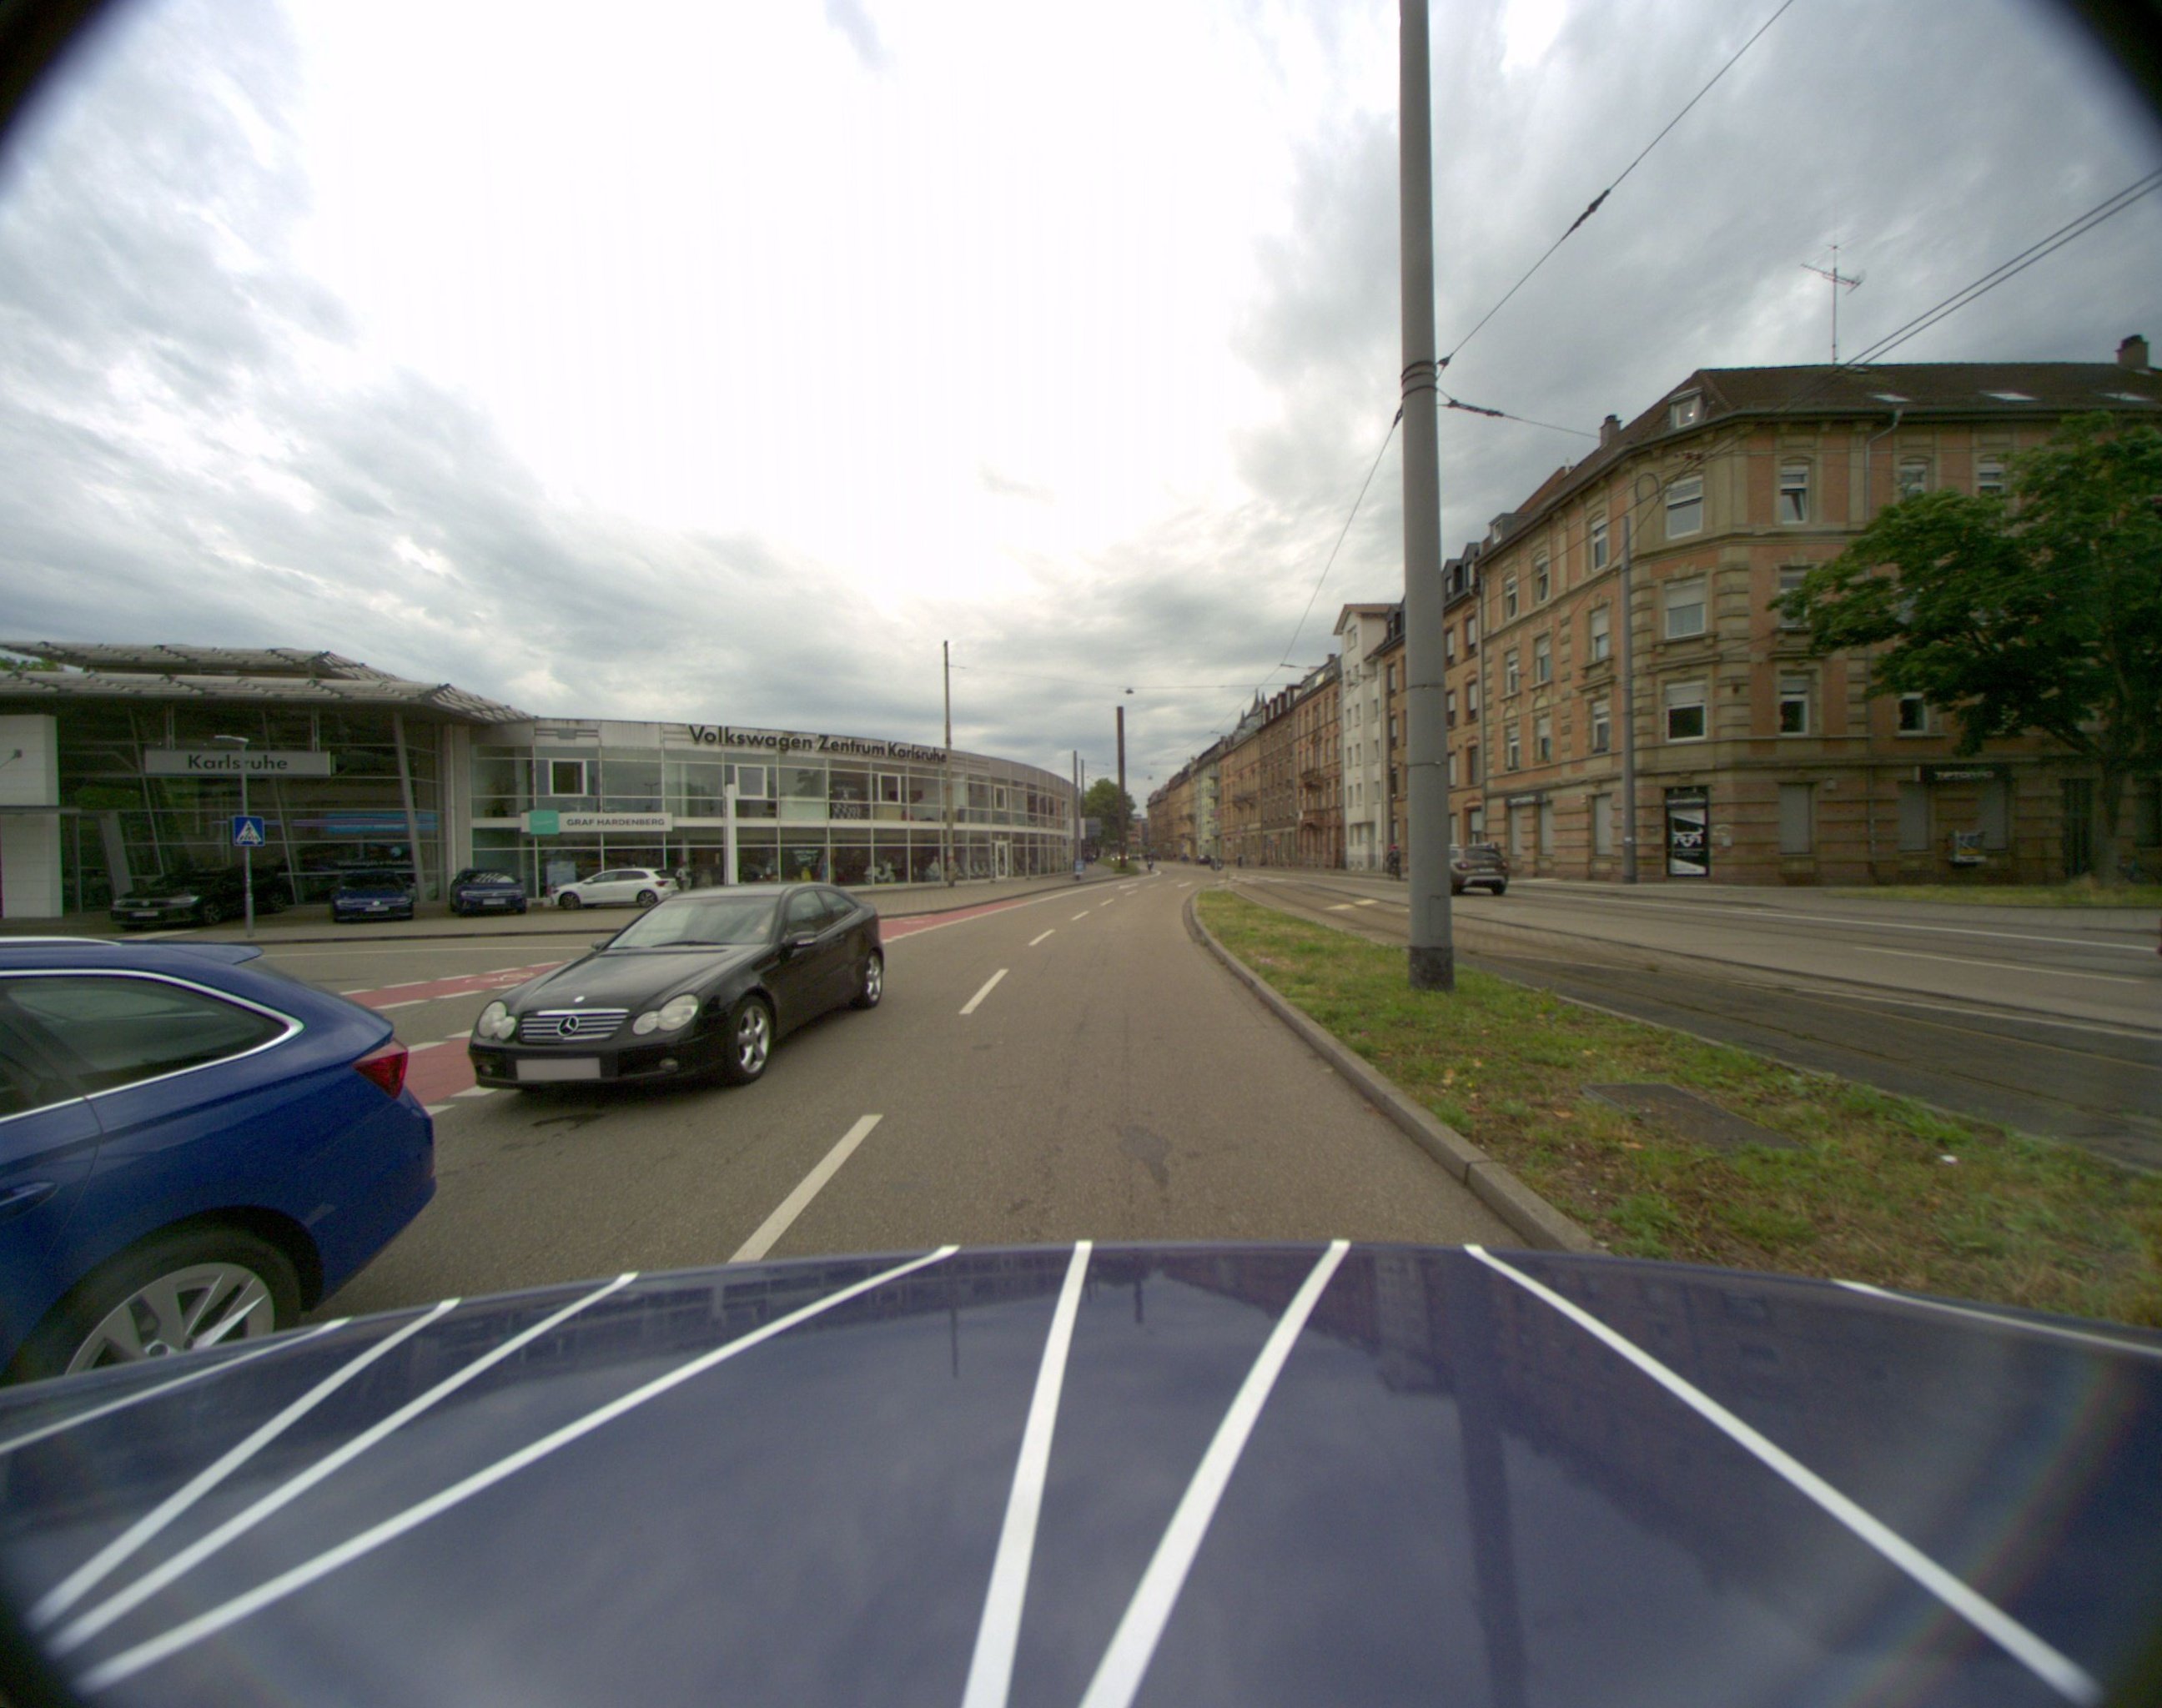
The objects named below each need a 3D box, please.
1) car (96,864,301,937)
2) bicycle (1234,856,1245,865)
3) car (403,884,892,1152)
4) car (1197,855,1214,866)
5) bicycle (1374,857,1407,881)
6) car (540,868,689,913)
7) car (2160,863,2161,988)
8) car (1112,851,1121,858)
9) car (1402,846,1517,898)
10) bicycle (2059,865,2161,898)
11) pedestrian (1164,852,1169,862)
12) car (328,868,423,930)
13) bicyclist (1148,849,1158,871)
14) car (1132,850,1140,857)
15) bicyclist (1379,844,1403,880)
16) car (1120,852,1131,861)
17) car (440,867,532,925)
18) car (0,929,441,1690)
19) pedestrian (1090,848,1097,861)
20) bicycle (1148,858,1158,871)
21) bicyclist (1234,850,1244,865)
[{"bbox_3d":[-26.477,1.294,23.086,1.862,1.624,4.500,-3,4,-18],"label":"car"},{"bbox_3d":[16.064,0.677,77.135,0.607,0.910,1.719,-1,0,-4],"label":"bicycle"},{"bbox_3d":[-3.115,1.072,6.588,1.714,1.413,4.070,-1,0,3],"label":"car"},{"bbox_3d":[16.860,0.860,102.963,1.852,1.471,3.828,-1,0,3],"label":"car"},{"bbox_3d":[16.116,0.766,39.617,0.826,1.201,2.234,0,0,-1],"label":"bicycle"},{"bbox_3d":[-16.989,1.289,27.851,4.263,1.444,1.781,-1,0,-9],"label":"car"},{"bbox_3d":[12.806,0.777,6.217,1.697,1.387,4.392,-1,0,-1],"label":"car"},{"bbox_3d":[7.869,0.143,169.068,1.802,1.630,4.230,-1,0,1],"label":"car"},{"bbox_3d":[12.863,0.555,26.146,1.802,1.630,4.229,-1,0,-1],"label":"car"},{"bbox_3d":[30.331,0.826,22.241,0.662,0.909,1.989,0,-3,-10],"label":"bicycle"},{"bbox_3d":[16.902,0.645,150.322,0.814,2.002,0.733,-1,1,1],"label":"pedestrian"},{"bbox_3d":[-22.193,1.316,23.856,4.325,1.496,1.862,3,3,43],"label":"car"},{"bbox_3d":[5.787,0.470,61.188,0.730,1.747,0.911,-1,1,7],"label":"bicyclist"},{"bbox_3d":[12.997,-0.180,179.820,1.802,1.630,4.230,-1,0,1],"label":"car"},{"bbox_3d":[16.123,0.413,39.527,0.831,1.881,1.049,0,0,-1],"label":"bicyclist"},{"bbox_3d":[8.529,0.418,146.102,1.802,1.630,4.230,-1,0,1],"label":"car"},{"bbox_3d":[-20.139,1.347,25.652,1.905,1.554,4.207,-2,3,-45],"label":"car"},{"bbox_3d":[-3.183,1.038,0.428,1.784,1.480,4.465,-1,1,1],"label":"car"},{"bbox_3d":[1.763,0.077,104.951,0.871,1.843,0.706,-1,1,1],"label":"pedestrian"},{"bbox_3d":[5.782,0.834,61.117,0.727,1.003,2.177,-1,0,7],"label":"bicycle"},{"bbox_3d":[16.048,0.362,77.167,0.663,1.486,0.942,-1,1,-3],"label":"bicyclist"}]
